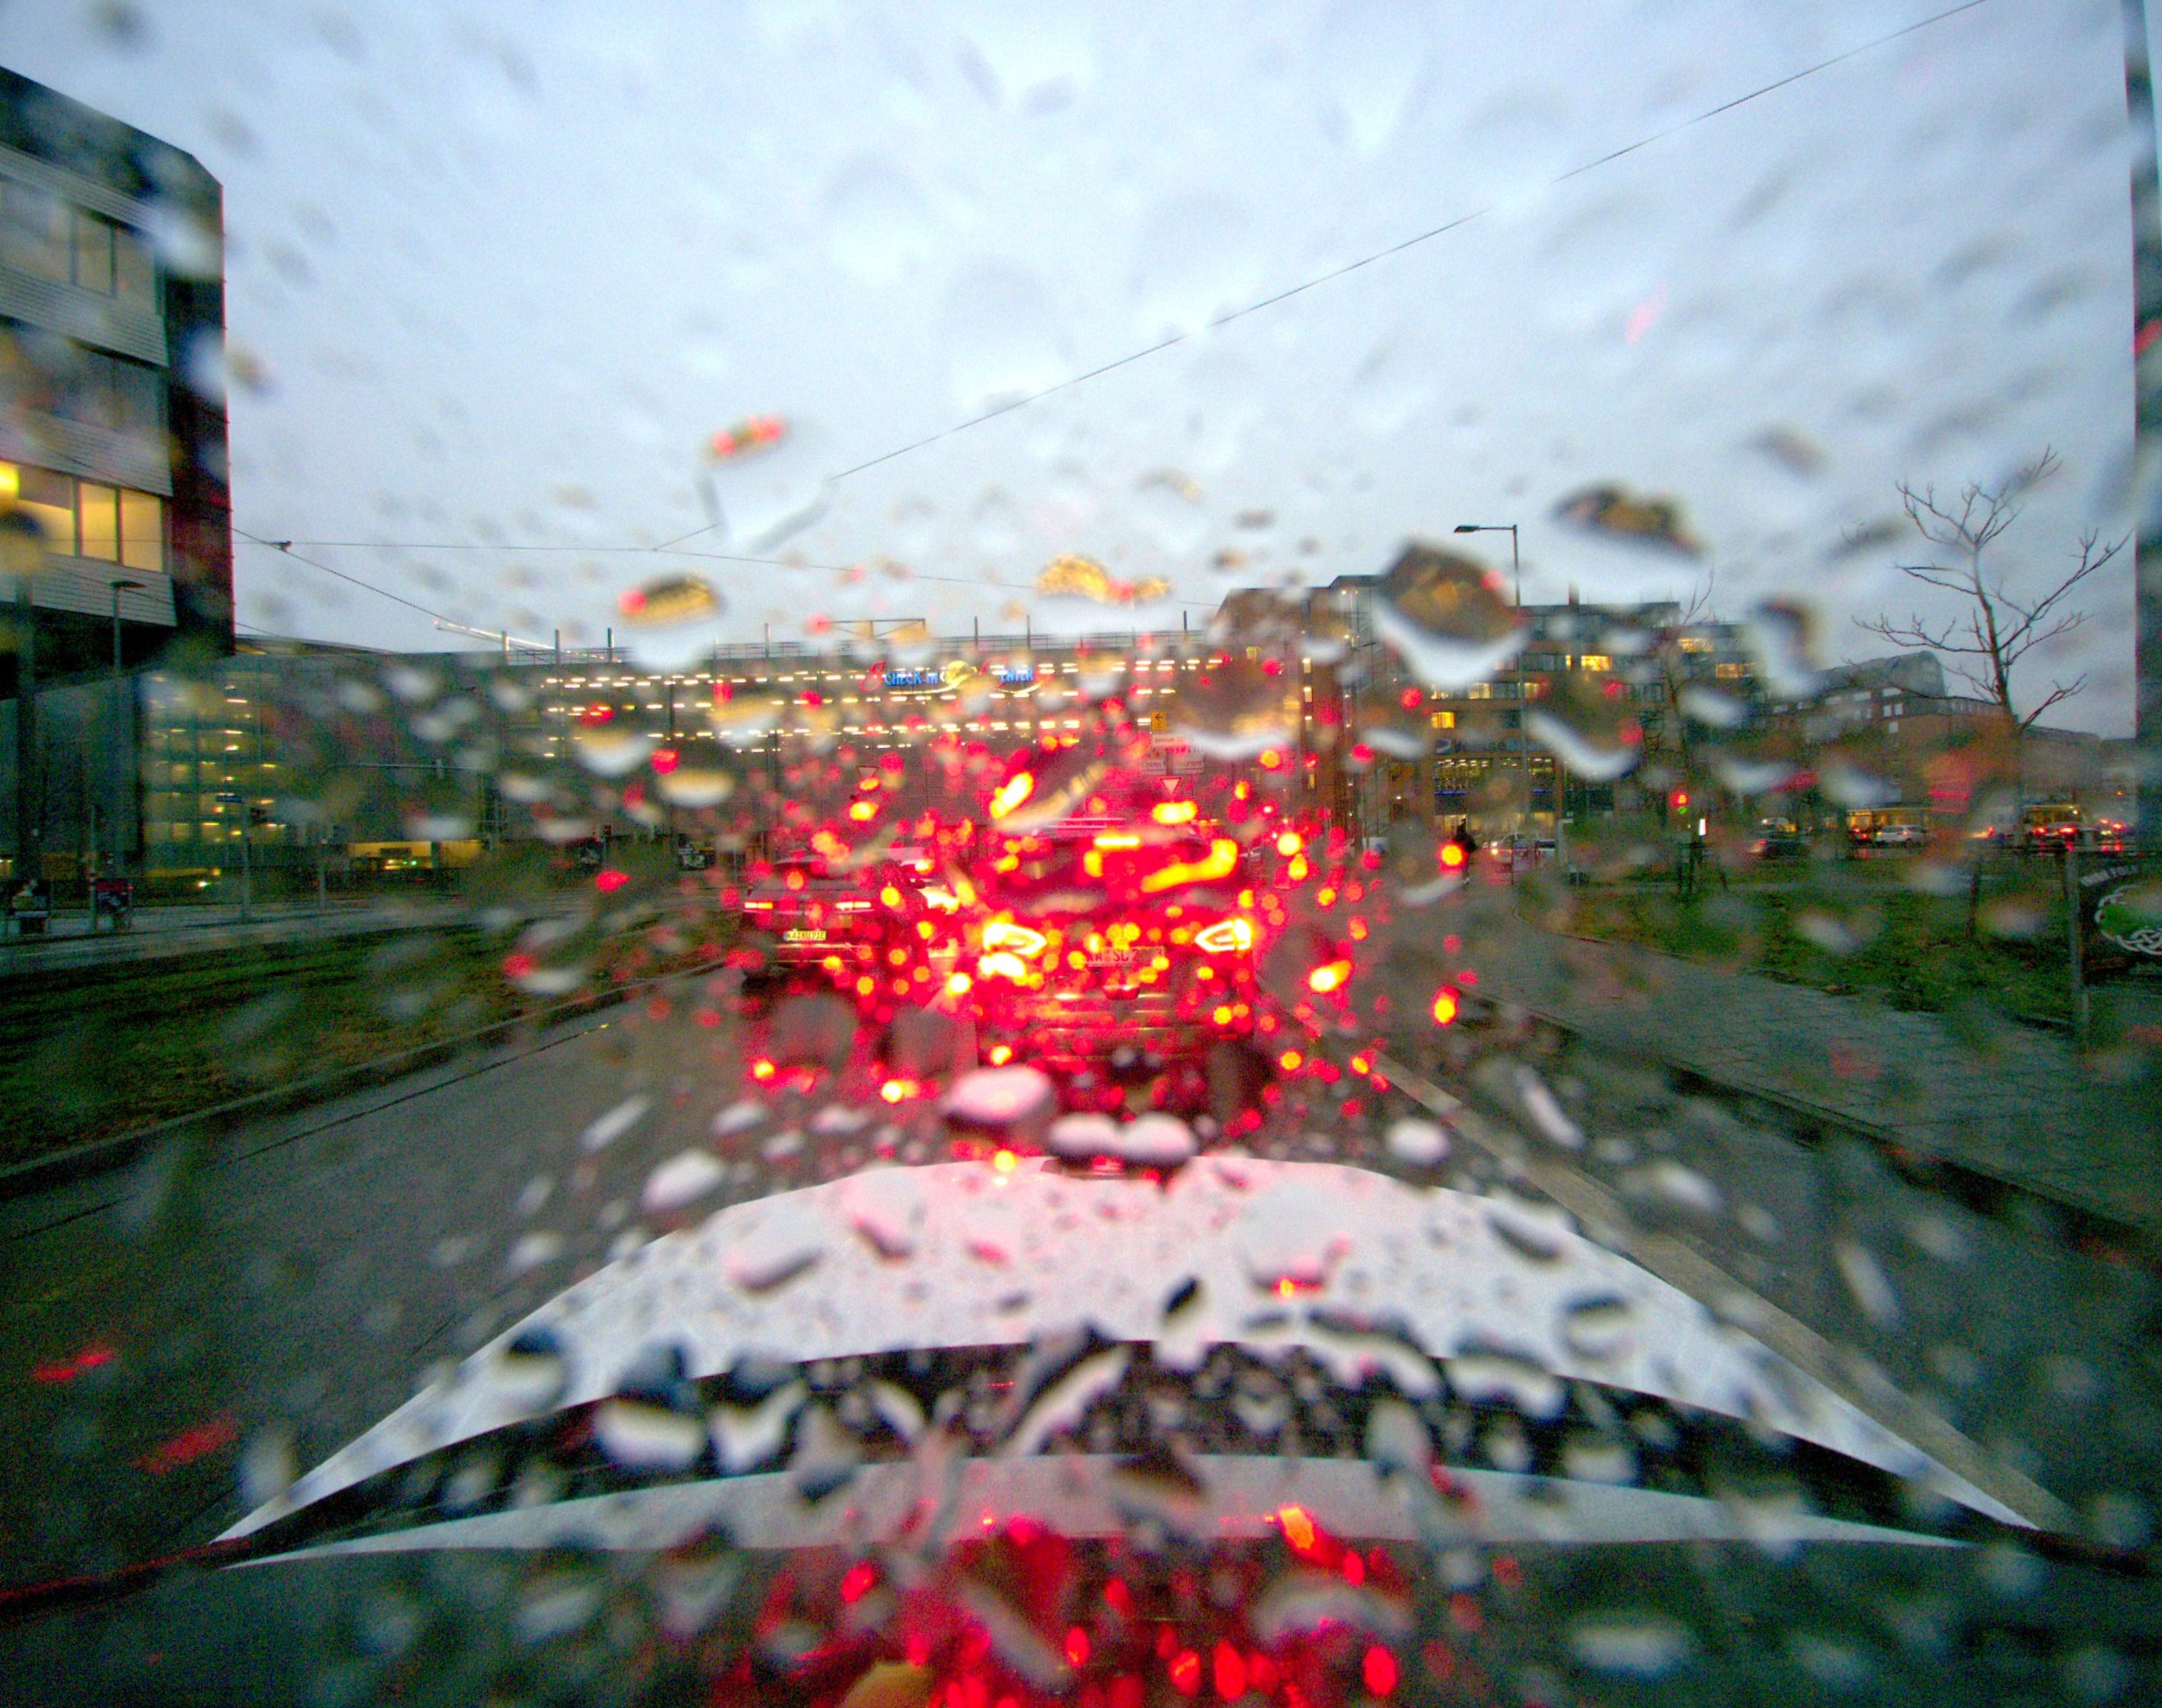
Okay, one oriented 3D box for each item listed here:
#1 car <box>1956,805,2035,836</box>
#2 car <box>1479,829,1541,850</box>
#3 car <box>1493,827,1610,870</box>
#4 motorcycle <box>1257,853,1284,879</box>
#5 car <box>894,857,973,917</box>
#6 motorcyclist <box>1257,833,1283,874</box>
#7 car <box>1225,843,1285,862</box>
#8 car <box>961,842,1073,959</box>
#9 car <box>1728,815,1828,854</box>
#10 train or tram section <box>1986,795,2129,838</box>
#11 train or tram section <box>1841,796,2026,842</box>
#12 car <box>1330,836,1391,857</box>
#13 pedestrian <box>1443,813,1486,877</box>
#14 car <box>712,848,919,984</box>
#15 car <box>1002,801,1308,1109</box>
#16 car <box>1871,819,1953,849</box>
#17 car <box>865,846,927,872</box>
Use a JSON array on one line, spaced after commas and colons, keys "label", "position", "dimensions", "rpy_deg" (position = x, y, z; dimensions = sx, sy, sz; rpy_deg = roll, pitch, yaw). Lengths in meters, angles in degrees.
[{"label": "car", "position": [64.326, -2.336, 57.299], "dimensions": [4.948, 2.013, 1.987], "rpy_deg": [0, 0, -20]}, {"label": "car", "position": [36.319, -1.217, 68.971], "dimensions": [4.425, 1.534, 1.796], "rpy_deg": [-2, 0, -6]}, {"label": "car", "position": [22.511, -0.271, 39.012], "dimensions": [4.664, 1.851, 1.827], "rpy_deg": [-2, -1, -7]}, {"label": "motorcycle", "position": [7.338, 0.454, 31.617], "dimensions": [0.848, 0.972, 1.585], "rpy_deg": [-2, 0, 7]}, {"label": "car", "position": [-3.469, 0.715, 19.714], "dimensions": [1.538, 1.251, 4.059], "rpy_deg": [-1, 0, -6]}, {"label": "motorcyclist", "position": [7.330, -0.026, 31.633], "dimensions": [0.863, 1.534, 1.110], "rpy_deg": [-2, 0, 7]}, {"label": "car", "position": [14.116, -0.146, 66.198], "dimensions": [4.413, 1.390, 1.796], "rpy_deg": [-2, 0, -6]}, {"label": "car", "position": [-1.022, 0.685, 13.836], "dimensions": [1.632, 1.697, 3.667], "rpy_deg": [-1, 0, -3]}, {"label": "car", "position": [37.762, -1.060, 44.168], "dimensions": [3.987, 1.874, 1.994], "rpy_deg": [-3, 1, -10]}, {"label": "train or tram section", "position": [83.198, -3.224, 69.358], "dimensions": [12.974, 3.260, 2.326], "rpy_deg": [-2, 0, -14]}, {"label": "train or tram section", "position": [69.040, -2.836, 65.890], "dimensions": [16.626, 3.260, 2.326], "rpy_deg": [-2, 0, -14]}, {"label": "car", "position": [22.844, -0.622, 66.610], "dimensions": [4.413, 1.595, 1.796], "rpy_deg": [-2, 0, -6]}, {"label": "pedestrian", "position": [11.770, -0.282, 25.001], "dimensions": [1.159, 1.924, 0.904], "rpy_deg": [1, 0, 25]}, {"label": "car", "position": [-3.563, 0.742, 11.732], "dimensions": [1.748, 1.574, 3.997], "rpy_deg": [-2, 0, -2]}, {"label": "car", "position": [0.414, 0.568, 6.753], "dimensions": [1.730, 1.738, 4.246], "rpy_deg": [1, 0, 0]}, {"label": "car", "position": [56.574, -1.342, 55.469], "dimensions": [3.985, 2.013, 1.994], "rpy_deg": [0, 0, -9]}, {"label": "car", "position": [-15.378, 0.393, 67.886], "dimensions": [4.831, 2.000, 1.797], "rpy_deg": [-2, 0, -5]}]
